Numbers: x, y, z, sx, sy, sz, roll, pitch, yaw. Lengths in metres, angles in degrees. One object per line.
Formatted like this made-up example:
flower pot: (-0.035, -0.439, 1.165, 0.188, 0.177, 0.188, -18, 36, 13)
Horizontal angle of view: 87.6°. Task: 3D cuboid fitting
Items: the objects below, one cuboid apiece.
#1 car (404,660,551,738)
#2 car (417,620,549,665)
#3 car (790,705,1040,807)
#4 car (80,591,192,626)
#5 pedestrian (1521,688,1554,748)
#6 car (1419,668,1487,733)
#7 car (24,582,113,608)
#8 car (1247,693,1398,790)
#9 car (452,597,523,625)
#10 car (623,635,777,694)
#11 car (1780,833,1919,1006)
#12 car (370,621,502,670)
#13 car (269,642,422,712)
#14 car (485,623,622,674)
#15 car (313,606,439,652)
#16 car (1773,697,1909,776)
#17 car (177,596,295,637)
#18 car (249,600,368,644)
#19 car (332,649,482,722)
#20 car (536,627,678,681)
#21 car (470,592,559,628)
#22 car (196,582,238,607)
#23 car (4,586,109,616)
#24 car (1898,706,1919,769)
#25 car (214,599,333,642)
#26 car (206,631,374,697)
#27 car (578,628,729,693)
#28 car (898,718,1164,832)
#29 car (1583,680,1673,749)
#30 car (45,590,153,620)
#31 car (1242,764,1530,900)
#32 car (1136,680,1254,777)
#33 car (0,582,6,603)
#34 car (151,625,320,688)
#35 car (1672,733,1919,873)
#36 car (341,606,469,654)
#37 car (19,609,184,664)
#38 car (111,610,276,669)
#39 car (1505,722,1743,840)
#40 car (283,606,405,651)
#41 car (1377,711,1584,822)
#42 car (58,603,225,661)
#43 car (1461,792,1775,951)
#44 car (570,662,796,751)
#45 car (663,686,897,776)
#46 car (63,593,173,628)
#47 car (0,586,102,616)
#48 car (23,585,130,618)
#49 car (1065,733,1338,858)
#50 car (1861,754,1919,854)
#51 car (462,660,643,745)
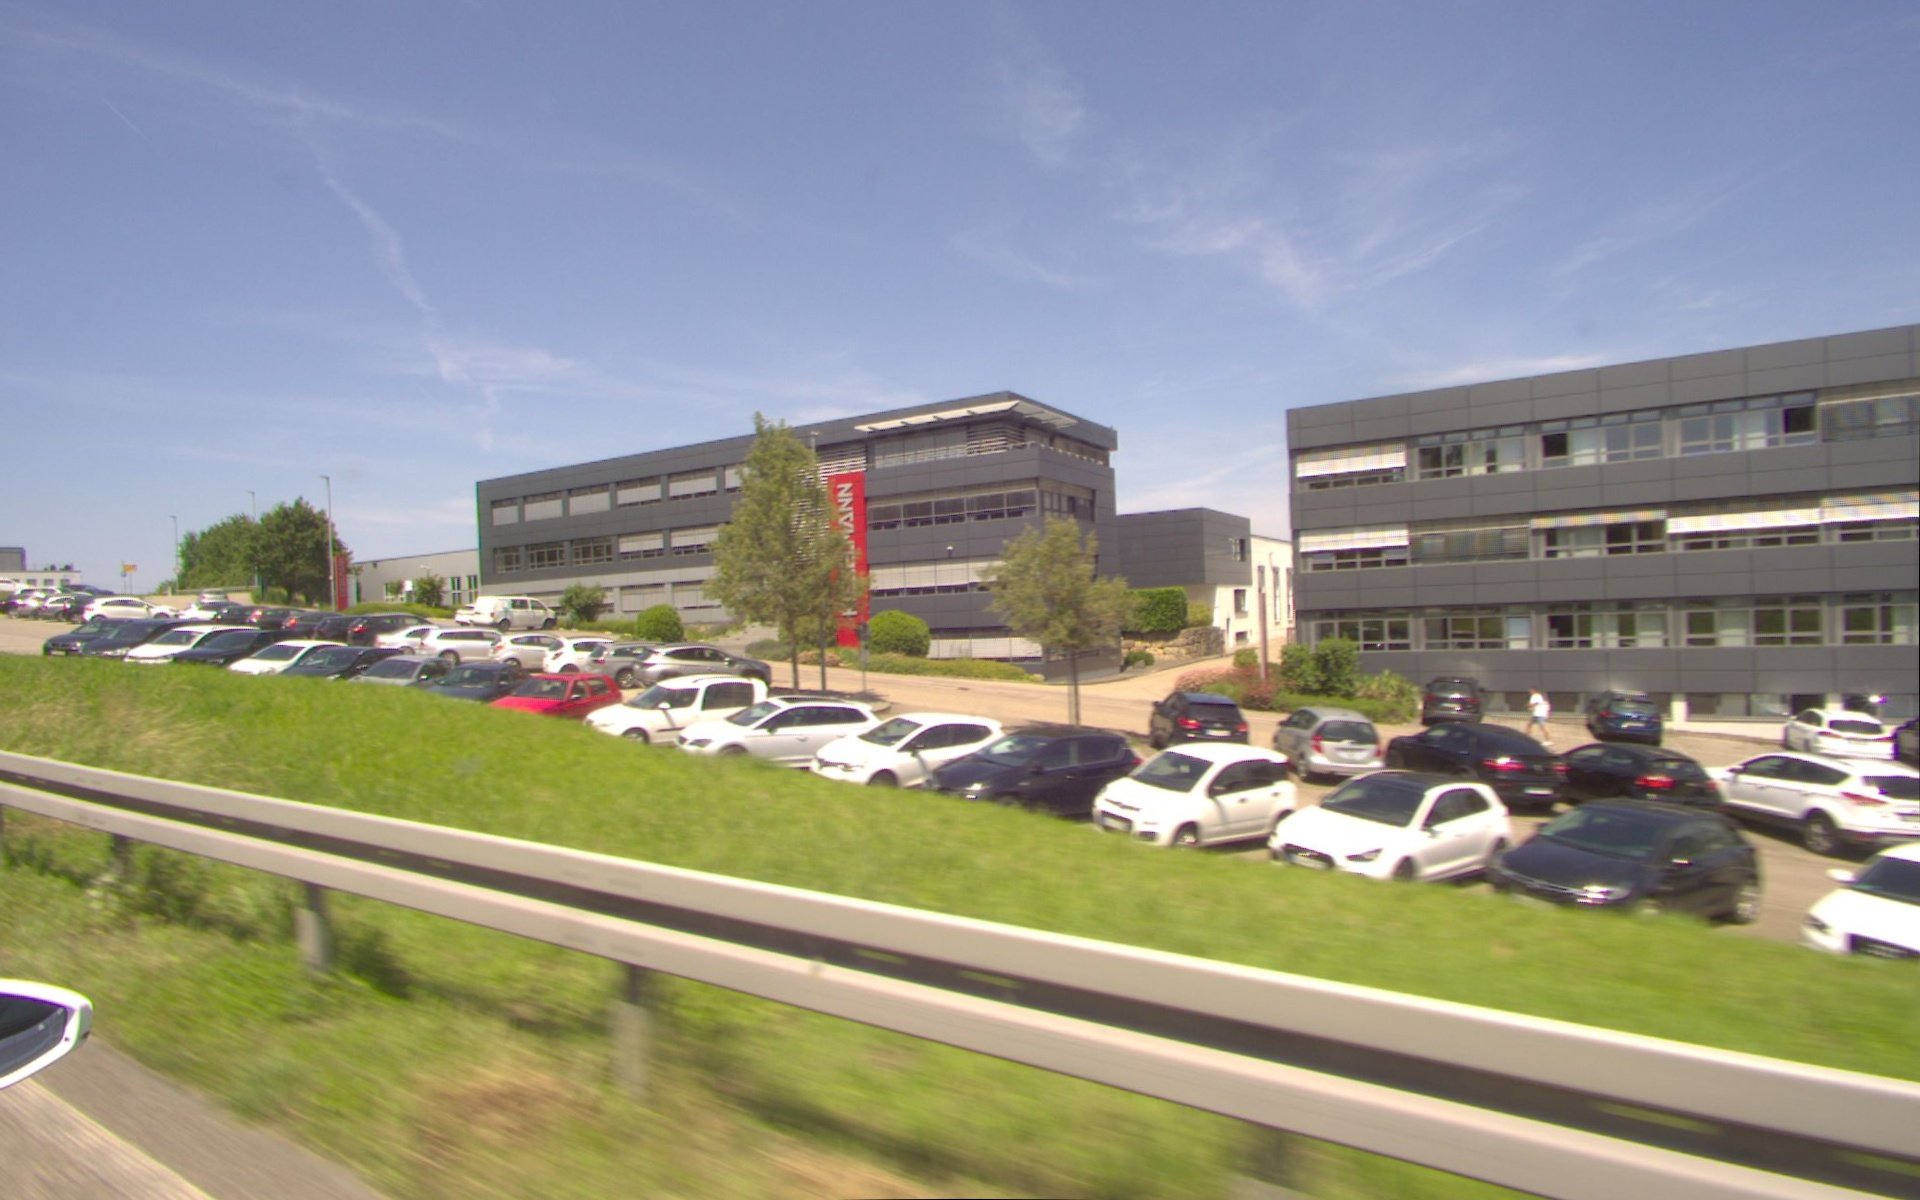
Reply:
car: (-12.266, 2.468, 25.793, 1.852, 1.706, 4.380, 4, -3, -5)
car: (-18.551, 1.655, 39.015, 4.519, 1.541, 1.810, 1, 3, -28)
car: (-0.790, 2.925, 18.971, 4.325, 1.578, 1.875, 6, -4, -35)
car: (-44.454, 0.484, 54.156, 4.534, 1.649, 1.806, 3, -2, -38)
pedestrian: (17.626, 3.585, 30.555, 0.816, 1.744, 0.632, 2, -3, 32)
car: (17.109, 3.405, 34.619, 1.792, 1.670, 4.565, 3, 2, 29)
car: (-65.657, -0.348, 73.829, 4.514, 1.649, 1.815, 2, -2, -24)
car: (8.545, 3.288, 24.054, 1.785, 1.560, 4.586, 4, 0, -1)
car: (-28.774, 0.622, 61.078, 1.660, 1.610, 3.654, 2, 1, 32)
car: (-8.469, 2.055, 32.737, 4.526, 1.651, 1.808, 1, 2, -33)
car: (11.540, 3.645, 11.625, 4.321, 1.411, 1.808, 6, -4, -32)
car: (-21.293, 1.849, 40.755, 4.528, 1.648, 1.810, 6, -4, -32)
car: (-17.432, 2.160, 28.700, 1.852, 1.706, 4.380, 4, -3, -5)
car: (-15.355, 1.791, 37.893, 4.524, 1.499, 1.807, -2, 5, -33)
car: (-25.396, 1.285, 43.654, 4.528, 1.648, 1.810, 6, -4, -32)
car: (25.907, 3.940, 29.641, 1.791, 1.593, 4.569, 3, 2, 26)
car: (-36.086, 0.838, 50.053, 4.528, 1.648, 1.810, 6, -4, -32)
car: (-30.546, 1.047, 47.133, 4.528, 1.648, 1.810, 6, -4, -32)
car: (-14.929, 2.266, 27.347, 1.852, 1.706, 4.380, 4, -3, -5)
car: (-12.784, 1.947, 36.354, 4.527, 1.651, 1.807, 2, 4, -33)
car: (-26.212, 0.573, 59.075, 1.794, 1.976, 4.562, 2, 1, 32)
car: (-54.873, -0.372, 74.039, 1.785, 1.683, 3.984, 2, -2, -27)
car: (-54.460, 0.084, 60.467, 4.533, 1.649, 1.807, 2, -3, -38)
car: (28.407, 4.092, 28.327, 1.794, 1.593, 4.562, 3, 2, 32)
car: (-33.011, 1.003, 48.345, 4.528, 1.648, 1.810, 6, -4, -32)
car: (-20.164, 1.942, 30.393, 1.851, 1.706, 4.381, 4, -3, 4)
car: (-10.541, 2.100, 34.542, 4.530, 1.650, 1.807, 6, 5, -33)
car: (1.292, 2.973, 17.335, 4.325, 1.578, 1.875, 6, -4, -35)
car: (21.654, 3.663, 32.649, 1.791, 1.593, 4.569, 3, 2, 26)
car: (-49.062, 0.304, 57.184, 4.533, 1.650, 1.806, 1, -1, -38)
car: (6.289, 3.250, 14.598, 4.325, 1.474, 1.807, 6, -4, -35)
car: (5.753, 3.115, 25.067, 1.785, 1.651, 4.239, 4, 2, -1)
car: (-78.201, -0.671, 78.841, 1.851, 1.708, 4.376, 4, 0, 4)
car: (-22.675, 1.793, 31.595, 1.851, 1.706, 4.381, 4, -3, 4)
car: (16.238, 3.764, 19.165, 1.785, 1.682, 4.586, 4, 0, -1)
car: (-23.357, 1.289, 42.177, 4.528, 1.648, 1.810, 6, -4, -32)
car: (-30.645, 1.364, 35.955, 1.851, 1.706, 4.381, 4, -3, 4)
car: (-25.398, 1.371, 33.402, 1.851, 1.706, 4.381, 4, -3, 4)
car: (13.674, 3.673, 21.042, 1.785, 1.533, 4.586, 4, 0, -1)
car: (-27.888, 1.317, 45.495, 4.528, 1.648, 1.810, 6, -4, -32)
car: (11.112, 3.512, 21.822, 1.786, 1.533, 4.585, 4, 0, -4)
car: (-27.889, 1.158, 34.333, 1.851, 1.706, 4.381, 4, -3, 4)
car: (8.788, 3.448, 13.282, 4.321, 1.474, 1.808, 6, -4, -32)
car: (-6.122, 2.413, 22.389, 4.410, 1.706, 1.874, 7, -4, -37)
car: (-3.698, 2.725, 20.737, 4.318, 1.578, 1.879, 6, -4, -30)
car: (-46.621, 0.599, 55.593, 4.535, 1.649, 1.806, 4, -2, -38)
car: (-56.636, 0.098, 62.528, 4.533, 1.649, 1.807, 2, -2, -38)
car: (-51.804, 0.107, 58.847, 4.535, 1.649, 1.806, 4, -2, -38)
car: (3.981, 3.080, 16.242, 4.325, 1.578, 1.850, 6, -4, -35)
car: (18.765, 3.945, 17.490, 1.756, 1.682, 4.586, 4, 0, -1)
car: (-9.556, 2.376, 23.936, 1.852, 1.706, 4.380, 3, -3, 10)
